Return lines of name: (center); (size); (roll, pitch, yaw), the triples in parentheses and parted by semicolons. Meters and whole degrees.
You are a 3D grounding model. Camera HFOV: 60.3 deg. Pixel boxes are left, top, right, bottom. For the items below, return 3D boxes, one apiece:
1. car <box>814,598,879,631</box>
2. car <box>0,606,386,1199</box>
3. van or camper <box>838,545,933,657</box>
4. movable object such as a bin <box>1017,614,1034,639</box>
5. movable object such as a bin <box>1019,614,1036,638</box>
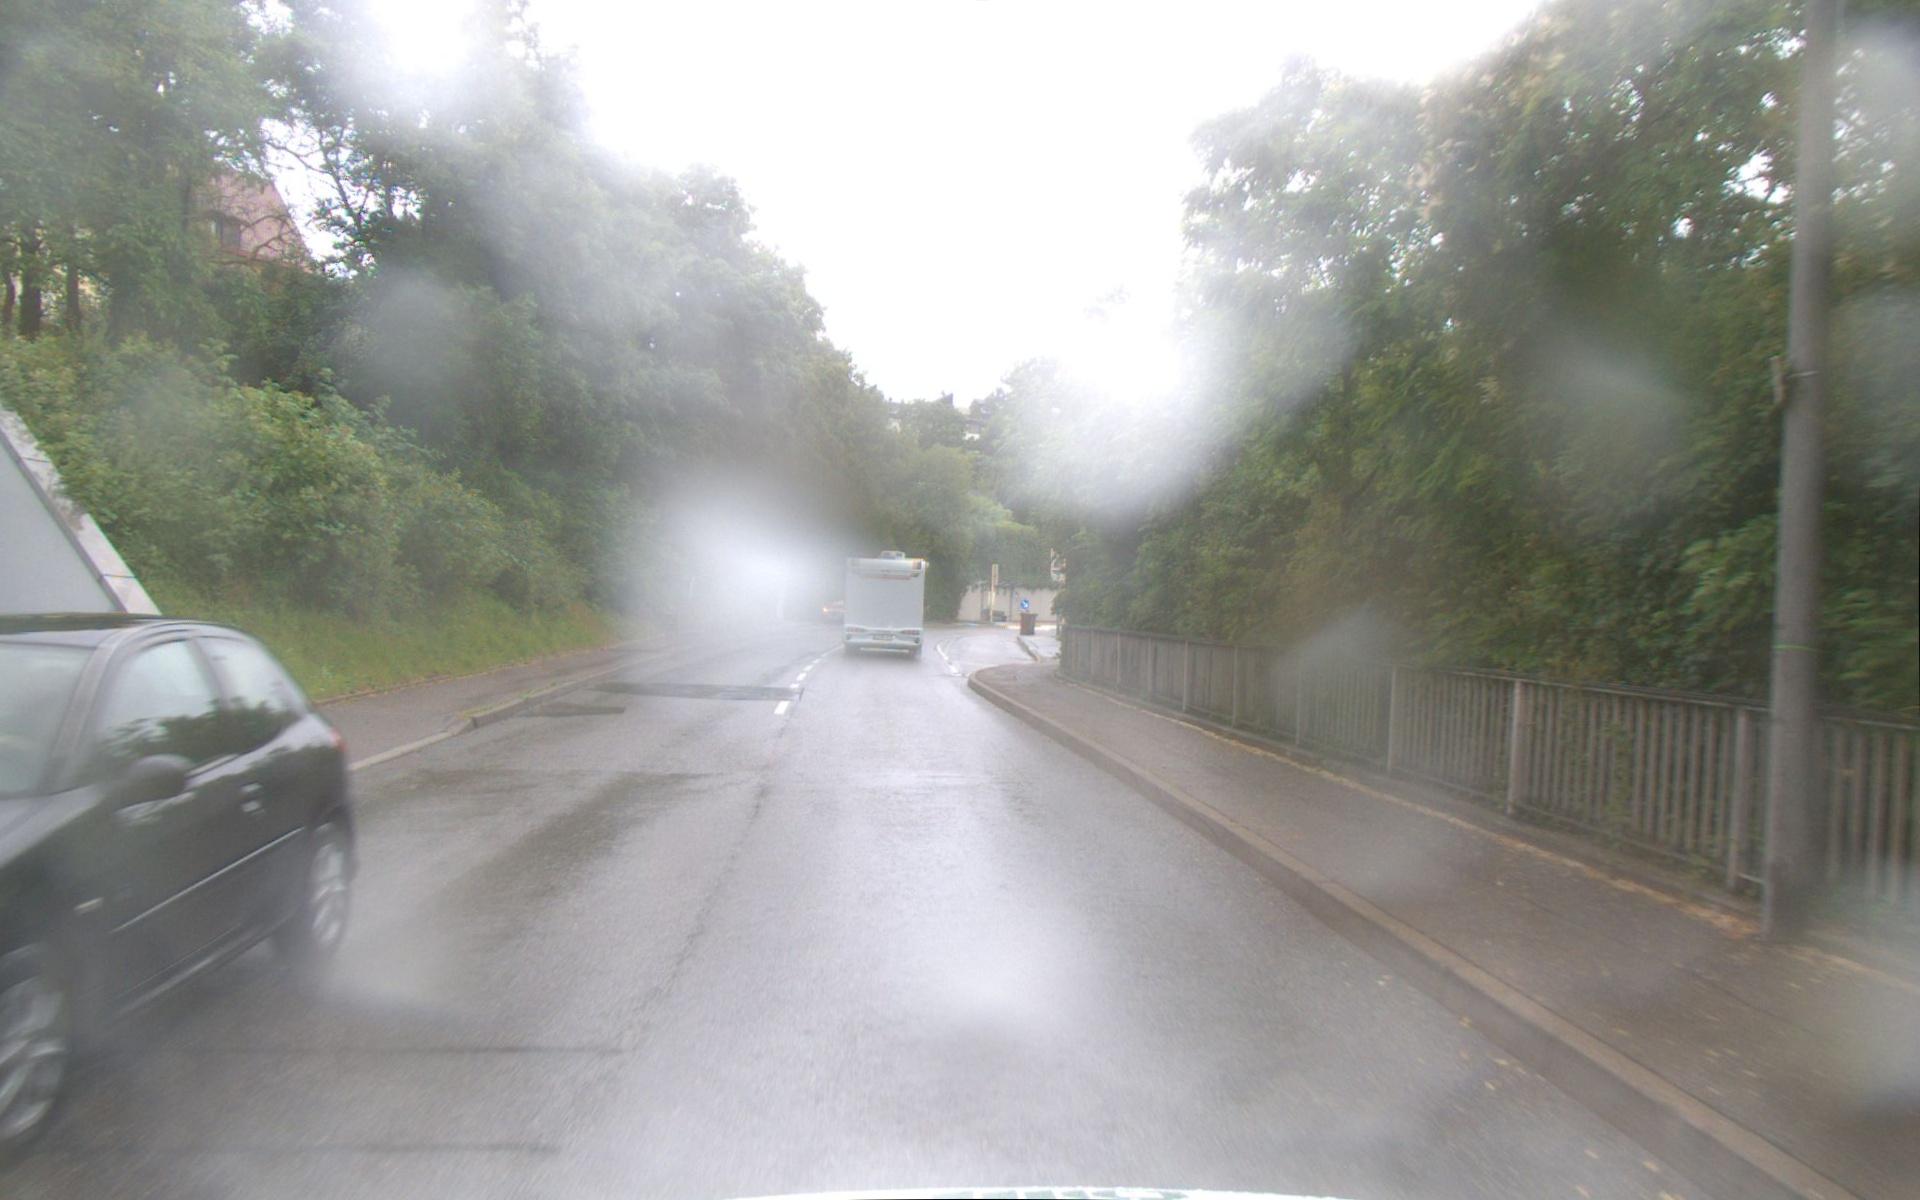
car: (-6.012, 0.771, 88.388); (1.952, 1.589, 4.655); (3, 0, 16)
car: (-3.203, 0.738, 5.376); (1.618, 1.409, 3.527); (0, 0, -4)
van or camper: (-2.249, 0.078, 48.009); (2.490, 2.976, 5.941); (-1, -1, -5)
movable object such as a bin: (3.174, 1.289, 80.116); (0.761, 1.153, 0.738); (2, 0, 6)
movable object such as a bin: (3.335, 1.269, 81.593); (0.761, 1.153, 0.738); (2, 0, 6)
